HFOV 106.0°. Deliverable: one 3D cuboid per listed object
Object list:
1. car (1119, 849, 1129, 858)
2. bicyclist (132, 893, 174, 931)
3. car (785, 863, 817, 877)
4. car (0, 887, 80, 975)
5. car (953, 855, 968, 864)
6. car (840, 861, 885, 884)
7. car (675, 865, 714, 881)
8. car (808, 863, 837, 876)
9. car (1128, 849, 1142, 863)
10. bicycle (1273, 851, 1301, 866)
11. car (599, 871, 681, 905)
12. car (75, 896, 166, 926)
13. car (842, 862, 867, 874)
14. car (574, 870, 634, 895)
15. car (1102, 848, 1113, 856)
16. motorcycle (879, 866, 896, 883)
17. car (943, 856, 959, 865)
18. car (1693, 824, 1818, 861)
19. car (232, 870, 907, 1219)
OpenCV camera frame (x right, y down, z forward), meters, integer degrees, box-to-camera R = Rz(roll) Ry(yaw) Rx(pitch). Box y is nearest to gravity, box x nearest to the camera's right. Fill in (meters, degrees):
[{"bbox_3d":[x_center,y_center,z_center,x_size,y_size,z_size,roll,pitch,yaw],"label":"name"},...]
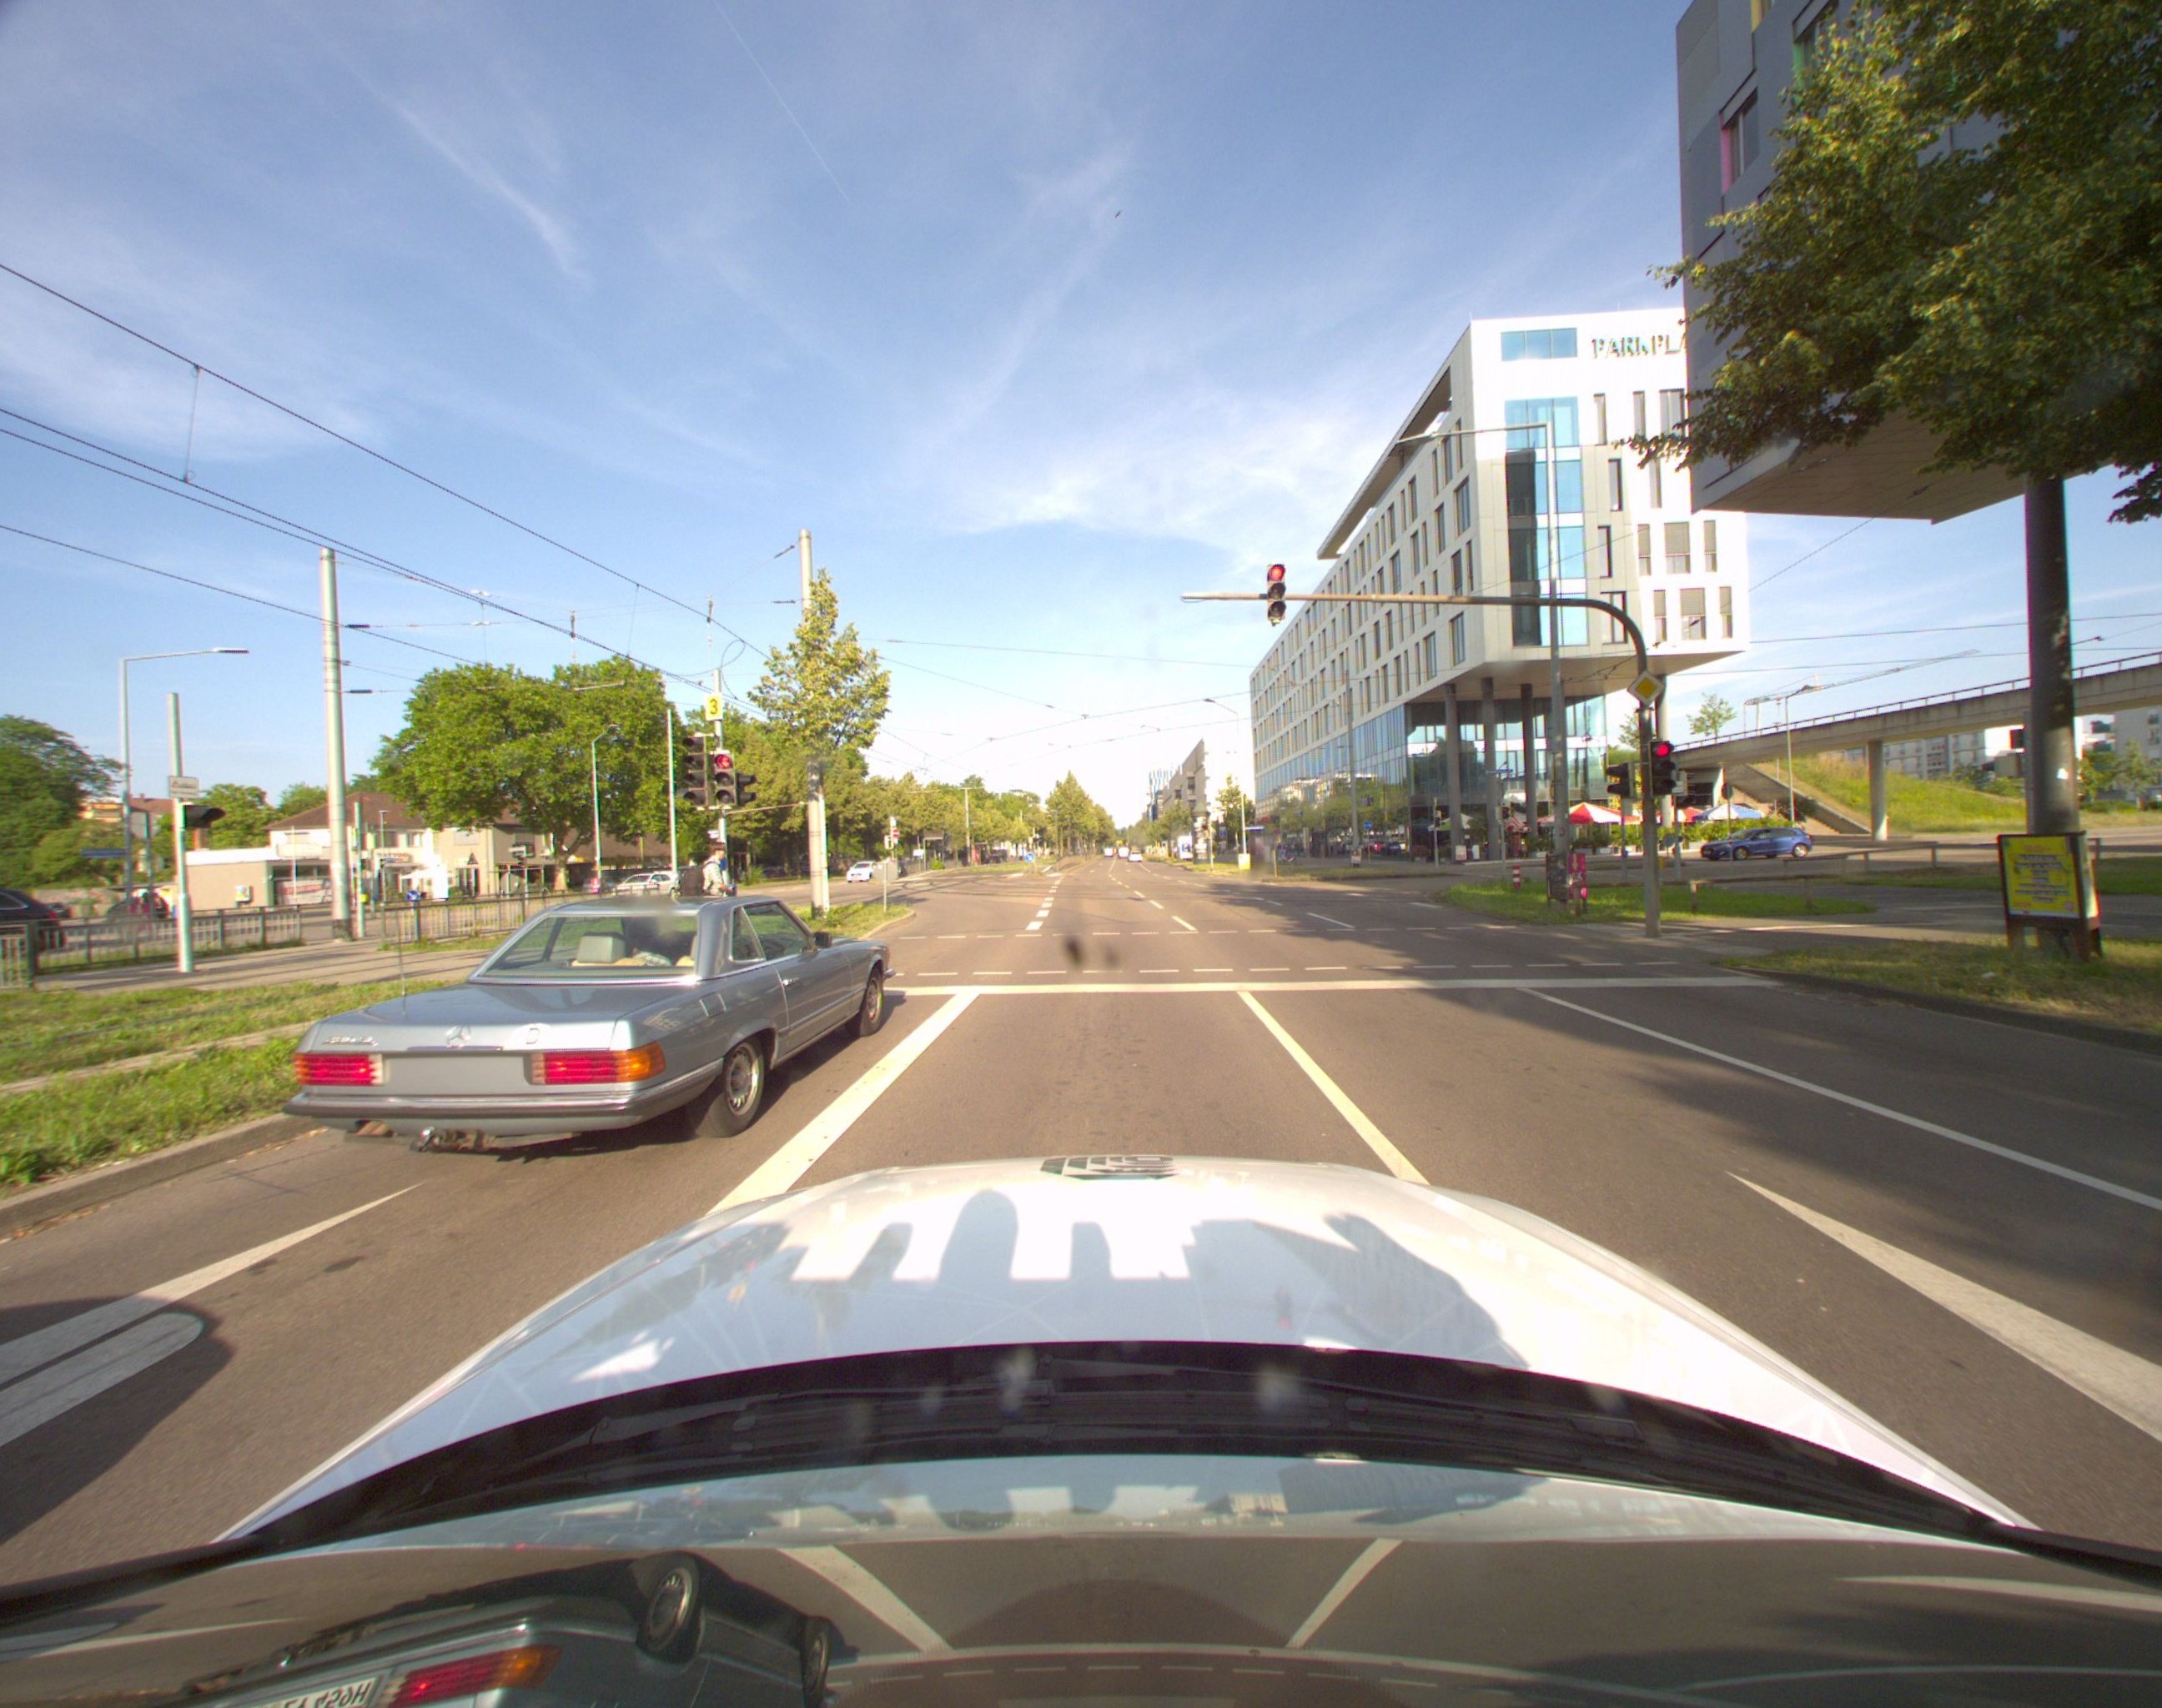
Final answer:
[{"bbox_3d":[7.724,-0.116,145.832,1.856,1.684,4.004,0,1,3],"label":"car"},{"bbox_3d":[-38.176,2.379,33.513,0.850,1.493,0.695,-2,0,-20],"label":"bicyclist"},{"bbox_3d":[-33.182,1.896,96.621,1.871,1.559,4.009,-3,0,8],"label":"car"},{"bbox_3d":[-22.601,1.609,14.967,1.985,1.684,5.000,-2,0,4],"label":"car"},{"bbox_3d":[-24.273,1.103,163.733,1.871,1.559,4.009,-3,0,8],"label":"car"},{"bbox_3d":[-16.185,1.353,60.533,1.985,1.504,4.096,-3,-1,3],"label":"car"},{"bbox_3d":[-42.320,2.086,89.311,1.871,1.559,4.009,-3,0,8],"label":"car"},{"bbox_3d":[-32.413,1.914,102.172,1.871,1.559,4.009,-3,0,8],"label":"car"},{"bbox_3d":[7.121,0.232,107.402,1.856,1.684,4.004,0,1,3],"label":"car"},{"bbox_3d":[14.949,0.305,59.169,0.778,1.032,1.856,-2,2,-41],"label":"bicycle"},{"bbox_3d":[-23.654,1.809,43.903,1.869,1.528,4.228,-2,0,4],"label":"car"},{"bbox_3d":[-62.581,3.709,53.072,3.963,1.728,2.005,-2,0,9],"label":"car"},{"bbox_3d":[-30.992,1.926,111.584,1.871,1.559,4.009,-3,0,8],"label":"car"},{"bbox_3d":[-37.135,2.196,63.517,1.871,1.750,4.009,-3,0,8],"label":"car"},{"bbox_3d":[5.585,-0.479,171.073,2.006,1.684,4.004,0,1,3],"label":"car"},{"bbox_3d":[-16.024,1.672,67.445,0.816,1.263,2.547,-1,0,-2],"label":"motorcycle"},{"bbox_3d":[-25.115,1.180,157.332,1.871,1.559,4.009,-3,0,8],"label":"car"},{"bbox_3d":[30.945,-0.526,37.451,4.169,1.424,1.860,-3,0,1],"label":"car"},{"bbox_3d":[-2.628,0.850,5.627,1.757,1.330,4.402,0,1,2],"label":"car"}]
